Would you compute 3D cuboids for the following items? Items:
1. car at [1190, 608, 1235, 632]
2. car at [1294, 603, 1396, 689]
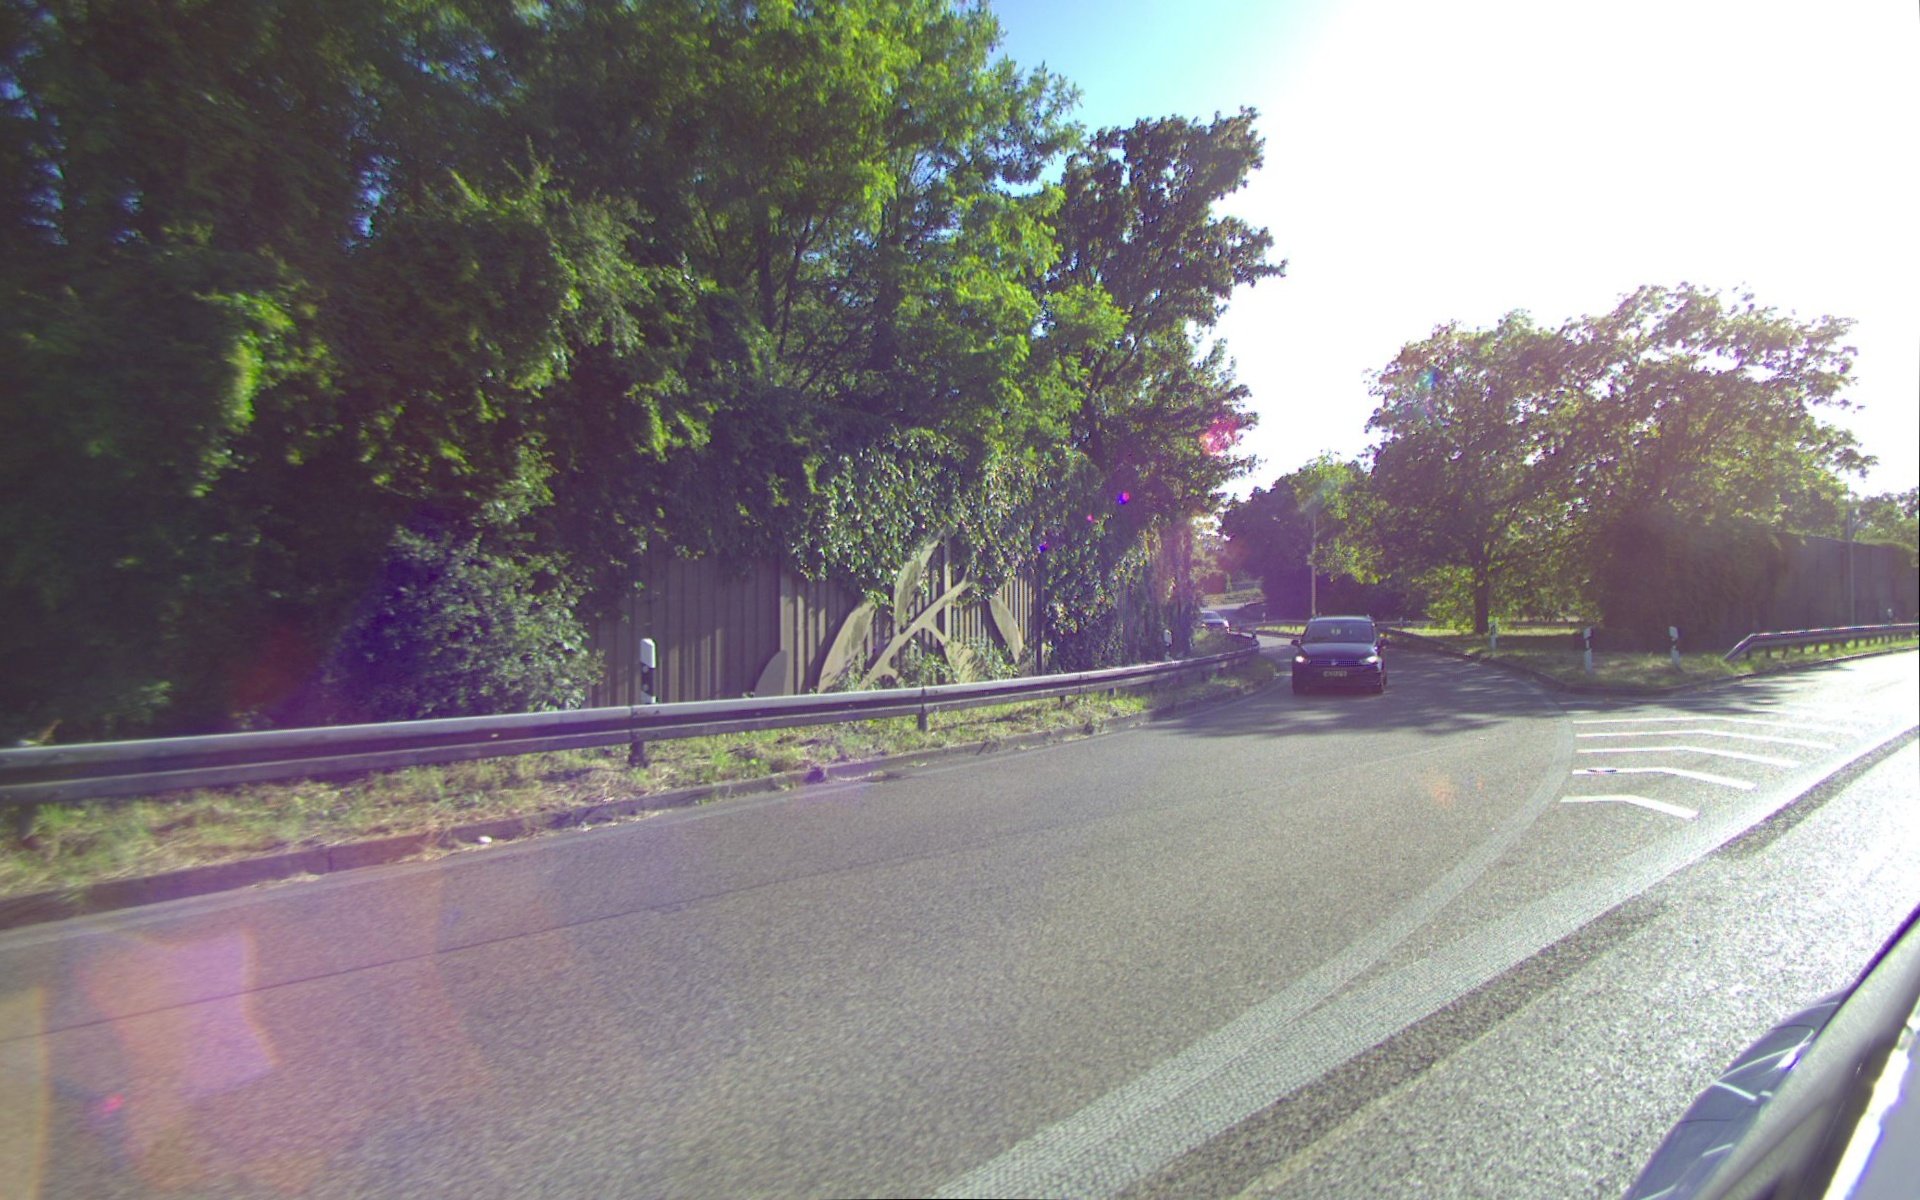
[{"bbox_3d":[15.166,1.228,60.986,1.611,1.301,3.999,-1,-2,-1],"label":"car"},{"bbox_3d":[8.445,0.977,22.029,1.729,1.684,3.964,-2,-3,25],"label":"car"}]
